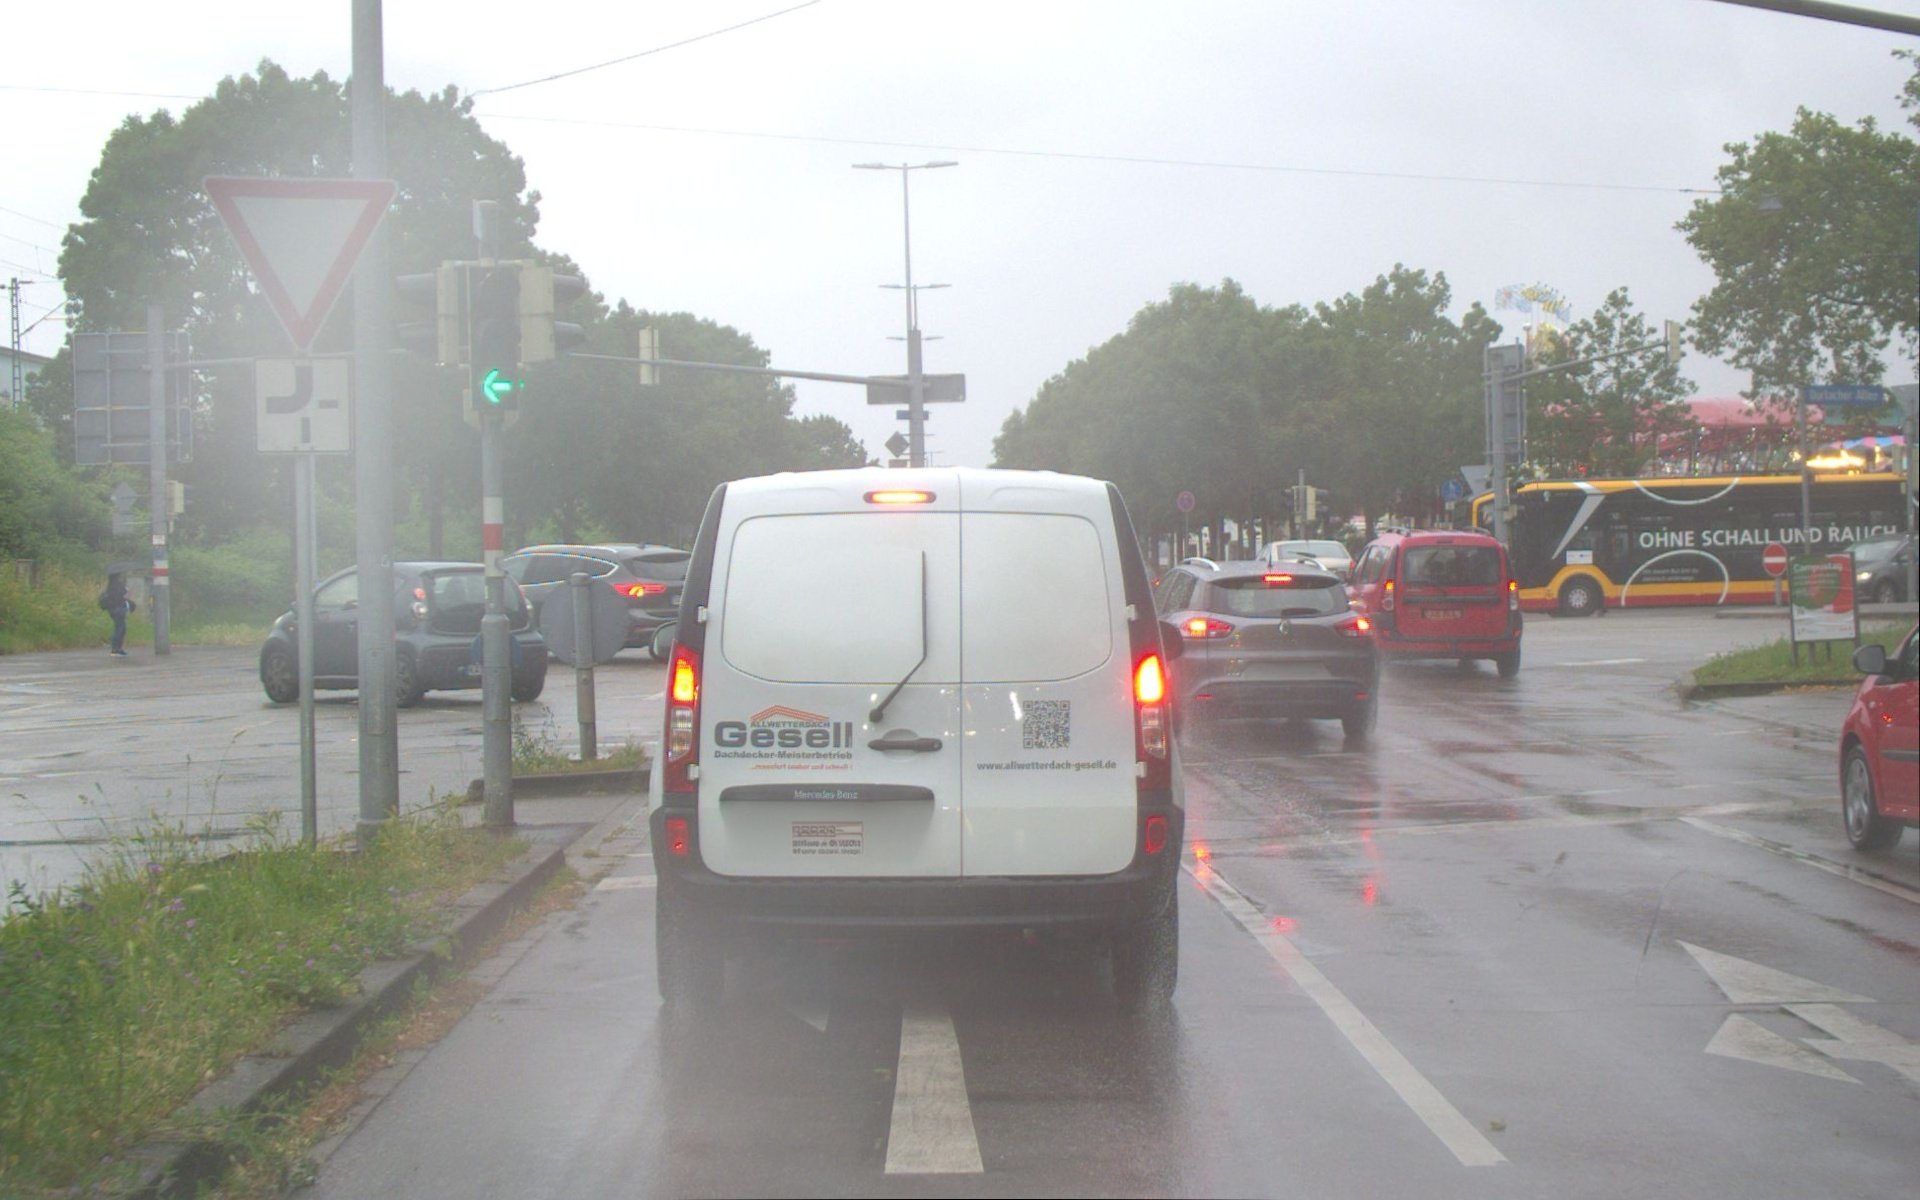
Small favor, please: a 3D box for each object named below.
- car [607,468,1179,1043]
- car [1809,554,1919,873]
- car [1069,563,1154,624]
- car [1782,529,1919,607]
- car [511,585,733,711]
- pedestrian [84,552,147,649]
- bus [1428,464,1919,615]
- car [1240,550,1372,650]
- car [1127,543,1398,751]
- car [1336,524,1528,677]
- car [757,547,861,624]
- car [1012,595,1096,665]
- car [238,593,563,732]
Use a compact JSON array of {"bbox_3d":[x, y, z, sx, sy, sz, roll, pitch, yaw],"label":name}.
[{"bbox_3d":[-0.245,0.458,12.747,1.756,1.771,4.000,1,1,-1],"label":"car"},{"bbox_3d":[5.330,0.530,16.252,1.678,1.486,3.621,0,1,-1],"label":"car"},{"bbox_3d":[3.983,-0.178,90.932,1.993,1.555,4.000,0,1,-1],"label":"car"},{"bbox_3d":[20.237,-0.724,75.524,4.329,1.645,1.933,-2,1,-37],"label":"car"},{"bbox_3d":[-4.317,0.578,43.608,1.564,1.468,3.355,-2,1,-29],"label":"car"},{"bbox_3d":[-15.117,0.005,61.577,1.001,1.713,0.820,-1,1,-9],"label":"pedestrian"},{"bbox_3d":[17.505,-1.447,81.702,12.249,3.257,3.275,-1,1,-1],"label":"bus"},{"bbox_3d":[5.822,-0.019,58.234,1.842,1.612,4.000,1,1,0],"label":"car"},{"bbox_3d":[2.467,0.348,28.927,1.842,1.612,4.000,0,1,-1],"label":"car"},{"bbox_3d":[5.349,-0.021,39.294,1.632,1.650,3.485,1,1,-1],"label":"car"},{"bbox_3d":[-3.553,-0.370,81.561,2.169,1.714,4.303,-1,1,1],"label":"car"},{"bbox_3d":[2.286,0.717,84.058,1.993,1.568,4.000,-1,1,1],"label":"car"},{"bbox_3d":[-5.742,0.600,35.081,1.579,1.301,3.456,-2,2,-44],"label":"car"}]
